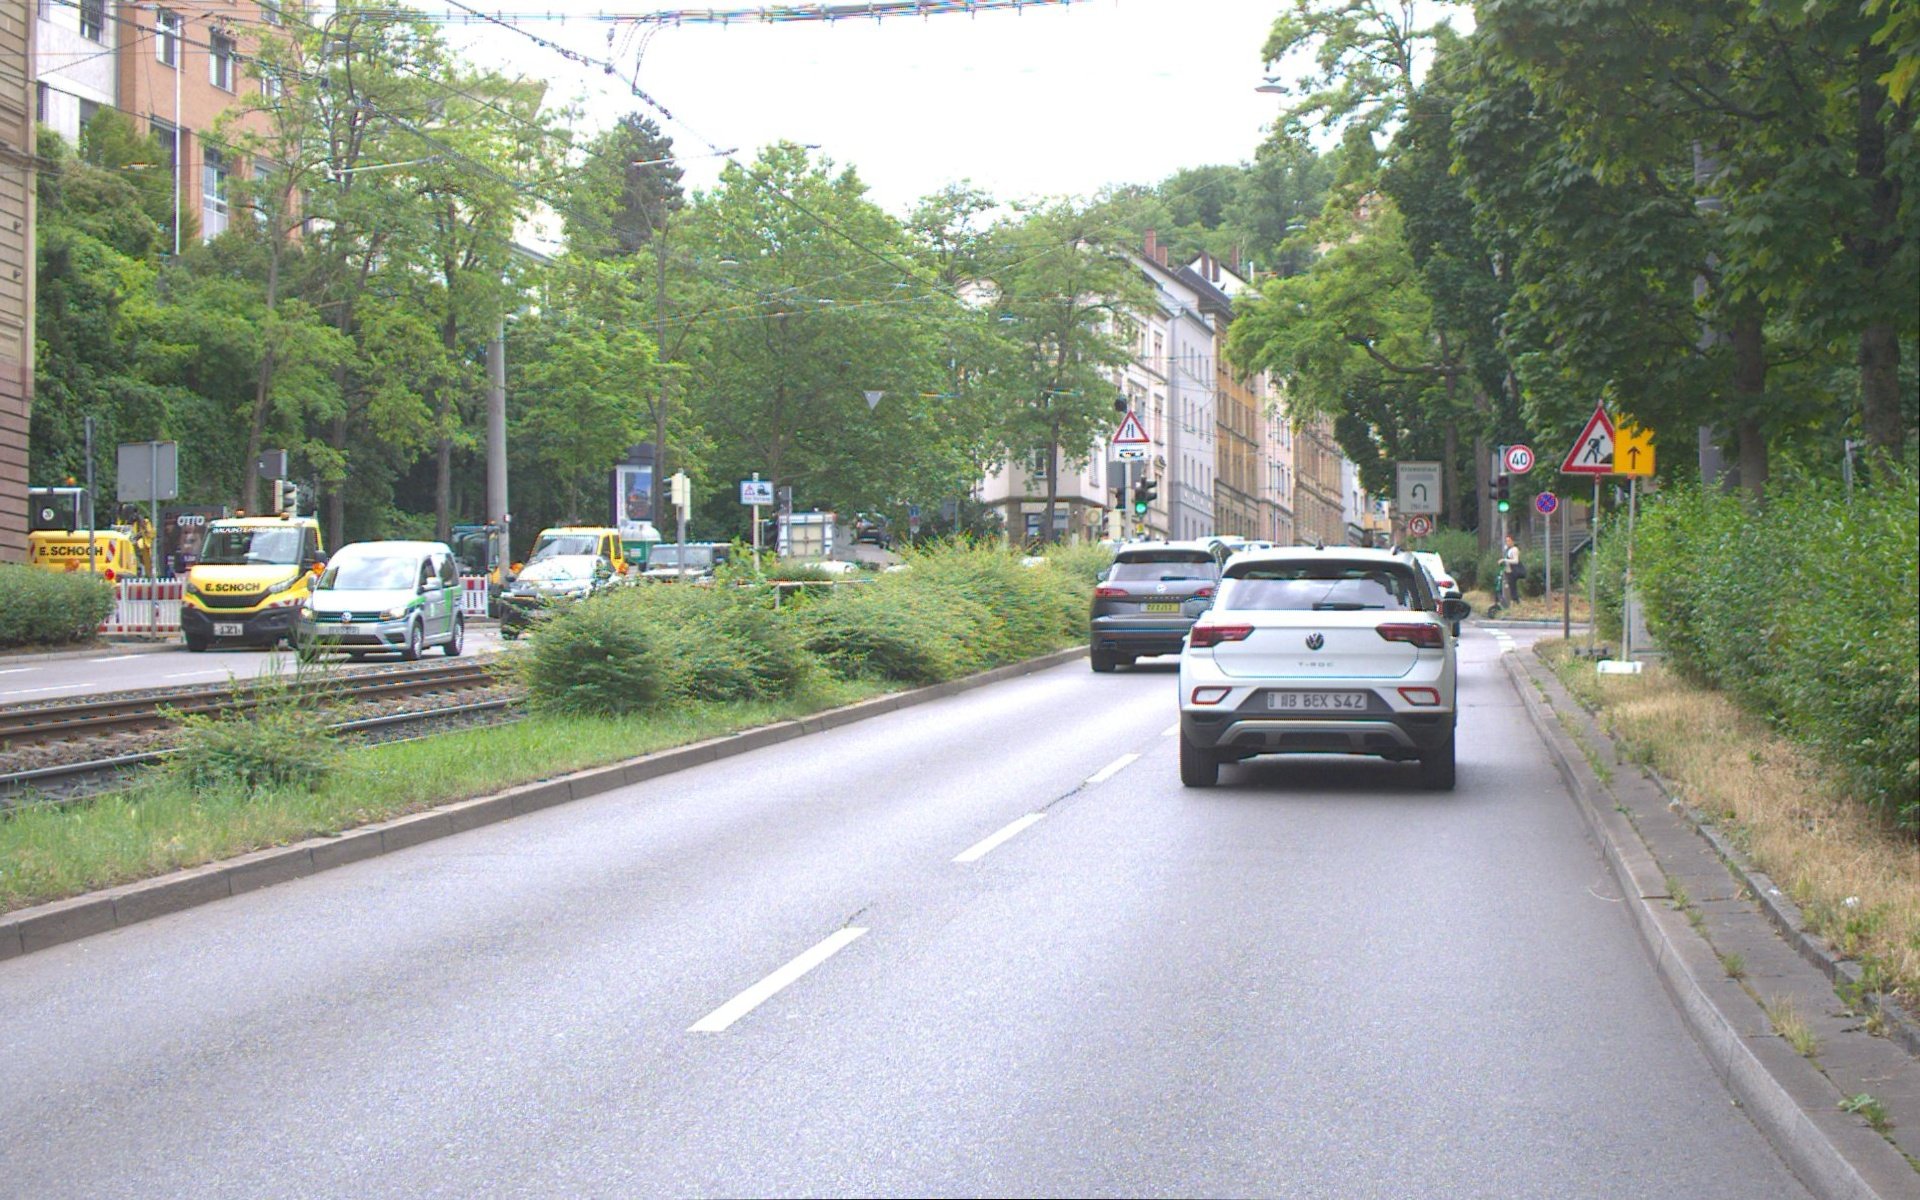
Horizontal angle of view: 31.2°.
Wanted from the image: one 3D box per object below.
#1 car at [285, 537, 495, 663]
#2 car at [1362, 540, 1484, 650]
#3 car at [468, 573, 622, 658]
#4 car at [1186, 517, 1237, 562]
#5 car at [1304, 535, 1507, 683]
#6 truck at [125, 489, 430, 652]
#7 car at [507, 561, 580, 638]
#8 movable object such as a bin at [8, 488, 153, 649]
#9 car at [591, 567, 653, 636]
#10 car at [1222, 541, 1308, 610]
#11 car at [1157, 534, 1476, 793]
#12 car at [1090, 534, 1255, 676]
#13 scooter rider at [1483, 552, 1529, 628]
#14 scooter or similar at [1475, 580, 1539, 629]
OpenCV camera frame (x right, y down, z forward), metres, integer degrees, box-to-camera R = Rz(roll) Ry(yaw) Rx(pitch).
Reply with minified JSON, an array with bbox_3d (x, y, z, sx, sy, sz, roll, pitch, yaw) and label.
[{"bbox_3d":[-8.646,-0.009,52.539,1.880,1.782,4.515,-2,0,7],"label":"car"},{"bbox_3d":[8.113,-0.054,60.446,1.994,1.618,3.998,-2,-4,7],"label":"car"},{"bbox_3d":[-7.963,0.322,66.348,1.865,1.549,4.436,1,-1,8],"label":"car"},{"bbox_3d":[11.547,-2.761,157.701,1.994,2.007,3.999,-1,0,9],"label":"car"},{"bbox_3d":[5.183,0.142,40.472,1.903,1.569,3.834,2,-2,1],"label":"car"},{"bbox_3d":[-11.734,-0.436,59.869,2.918,2.501,7.150,1,-2,8],"label":"truck"},{"bbox_3d":[-8.824,-0.024,72.962,1.187,1.581,3.090,1,0,-1],"label":"car"},{"bbox_3d":[-15.831,-0.553,61.938,1.994,2.828,2.029,-1,0,3],"label":"movable object such as a bin"},{"bbox_3d":[-7.990,0.017,81.433,1.187,1.581,3.090,1,0,-1],"label":"car"},{"bbox_3d":[10.996,-0.908,123.593,2.423,2.162,6.031,5,2,10],"label":"car"},{"bbox_3d":[2.482,0.397,23.268,1.939,1.561,4.044,1,0,8],"label":"car"},{"bbox_3d":[2.815,0.056,44.817,1.840,1.734,3.999,1,0,7],"label":"car"},{"bbox_3d":[11.451,-0.209,72.085,0.777,1.552,0.532,-1,0,-12],"label":"scooter rider"},{"bbox_3d":[11.474,0.101,72.094,1.187,0.991,0.531,-2,0,-12],"label":"scooter or similar"}]
